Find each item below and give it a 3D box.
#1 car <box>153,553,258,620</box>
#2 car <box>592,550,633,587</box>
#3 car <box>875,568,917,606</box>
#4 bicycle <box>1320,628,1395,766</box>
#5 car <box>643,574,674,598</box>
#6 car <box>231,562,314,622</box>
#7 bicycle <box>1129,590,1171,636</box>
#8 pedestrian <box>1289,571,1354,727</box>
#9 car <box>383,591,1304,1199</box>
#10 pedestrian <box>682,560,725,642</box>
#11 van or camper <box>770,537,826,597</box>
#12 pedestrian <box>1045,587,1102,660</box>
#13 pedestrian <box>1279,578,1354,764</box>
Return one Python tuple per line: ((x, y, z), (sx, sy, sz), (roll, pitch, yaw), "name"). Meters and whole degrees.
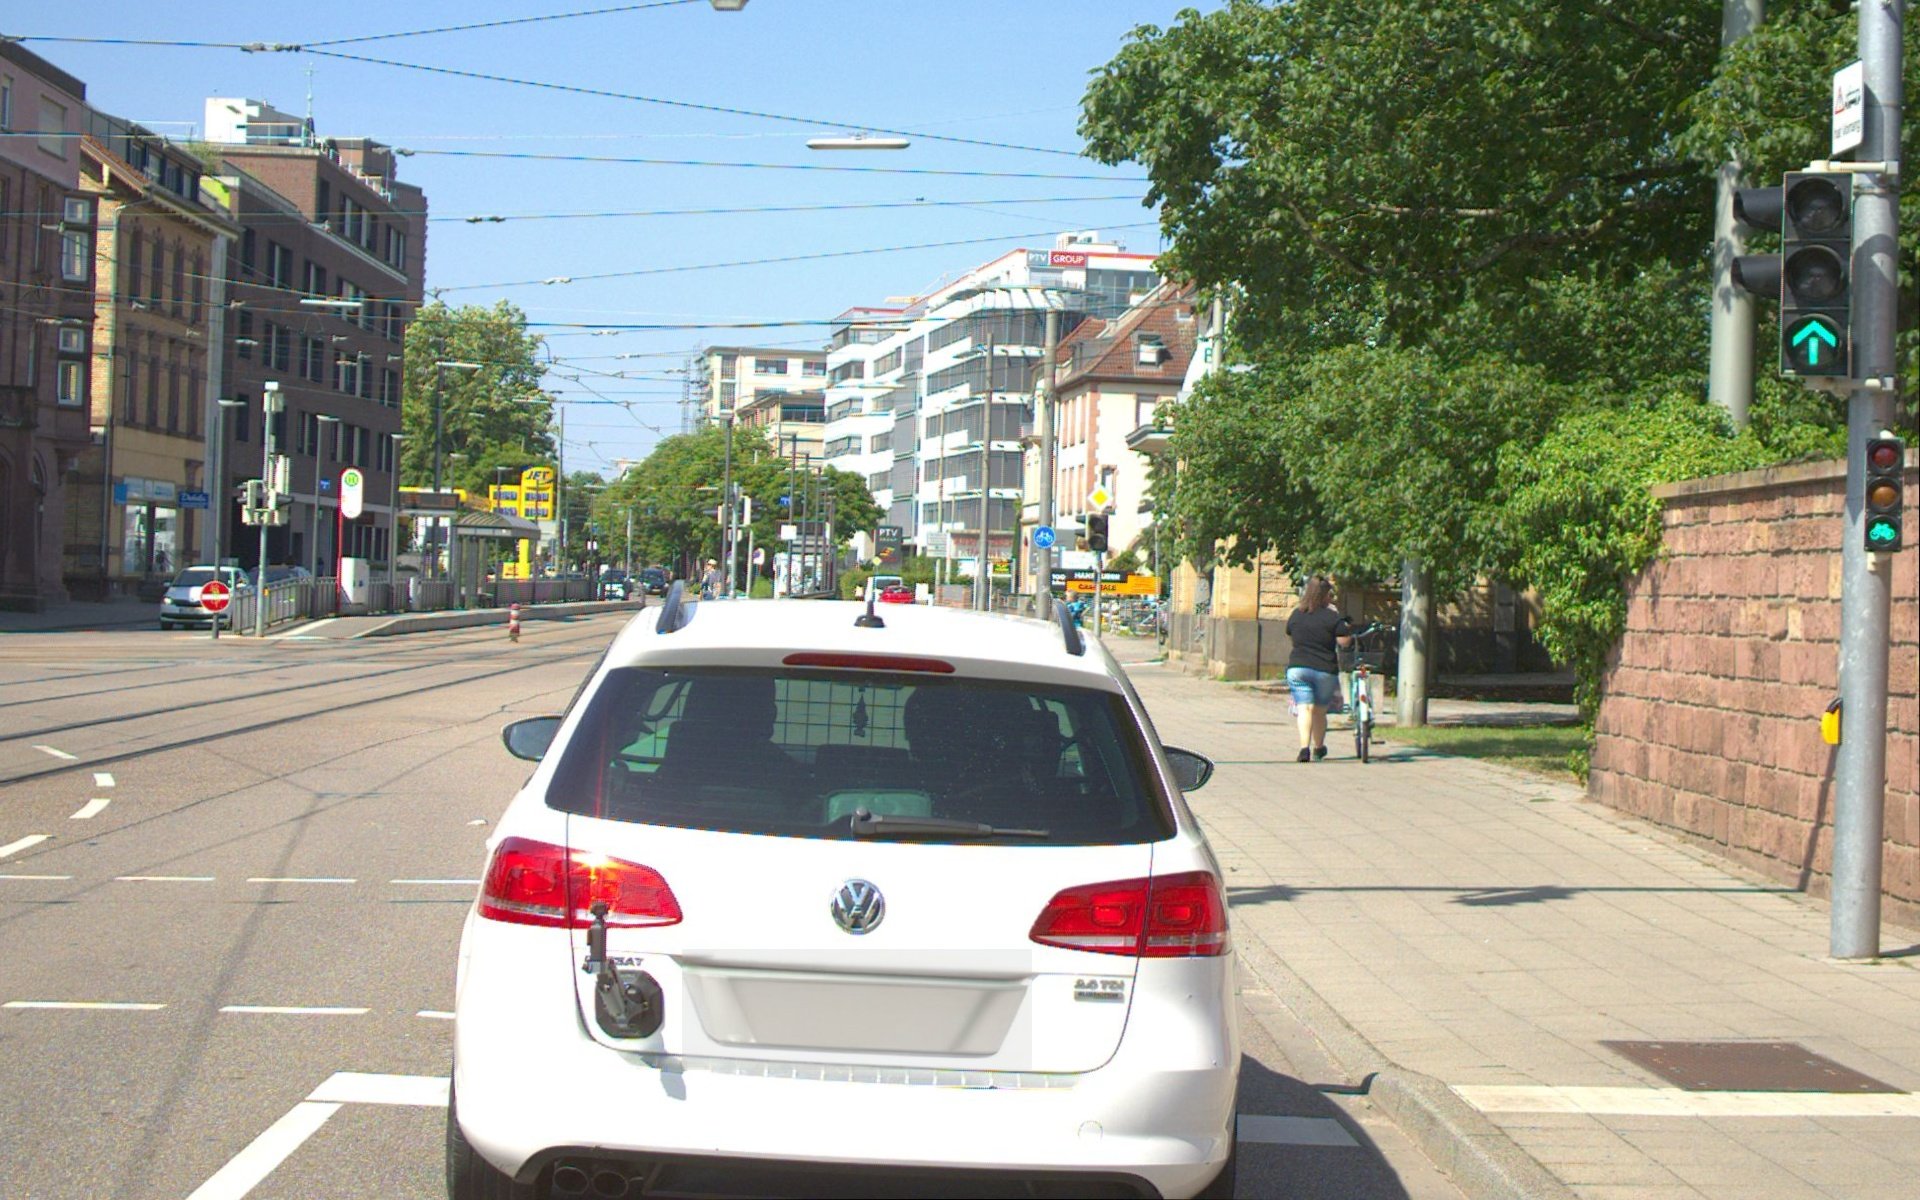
((-17.431, -0.315, 79.581), (1.625, 1.426, 3.963), (3, 0, -2), "car")
((-19.377, -1.767, 191.860), (1.993, 2.007, 4.000), (1, 0, -2), "car")
((-3.554, -0.737, 191.627), (1.993, 2.007, 4.001), (2, 0, -5), "car")
((3.340, 0.795, 28.807), (0.536, 1.107, 1.806), (1, 0, 9), "bicycle")
((-19.528, -0.903, 222.756), (1.667, 1.461, 3.773), (2, 0, -1), "car")
((-17.437, -0.211, 87.335), (1.572, 1.454, 3.815), (2, 0, -4), "car")
((4.933, 0.336, 89.269), (0.726, 1.135, 2.193), (2, 0, 12), "bicycle")
((3.973, 0.528, 37.771), (0.650, 1.676, 0.707), (2, 0, 7), "pedestrian")
((-0.249, 0.719, 8.615), (1.752, 1.413, 3.853), (2, 0, -1), "car")
((-5.723, 0.016, 76.698), (0.826, 1.803, 0.833), (2, 0, 0), "pedestrian")
((-9.028, -1.834, 191.451), (2.943, 3.169, 6.614), (2, 0, -3), "van or camper")
((2.387, 0.494, 72.082), (0.858, 1.505, 0.780), (2, 0, 36), "pedestrian")
((3.000, 0.591, 28.966), (0.540, 1.543, 0.663), (0, 0, -1), "pedestrian")
